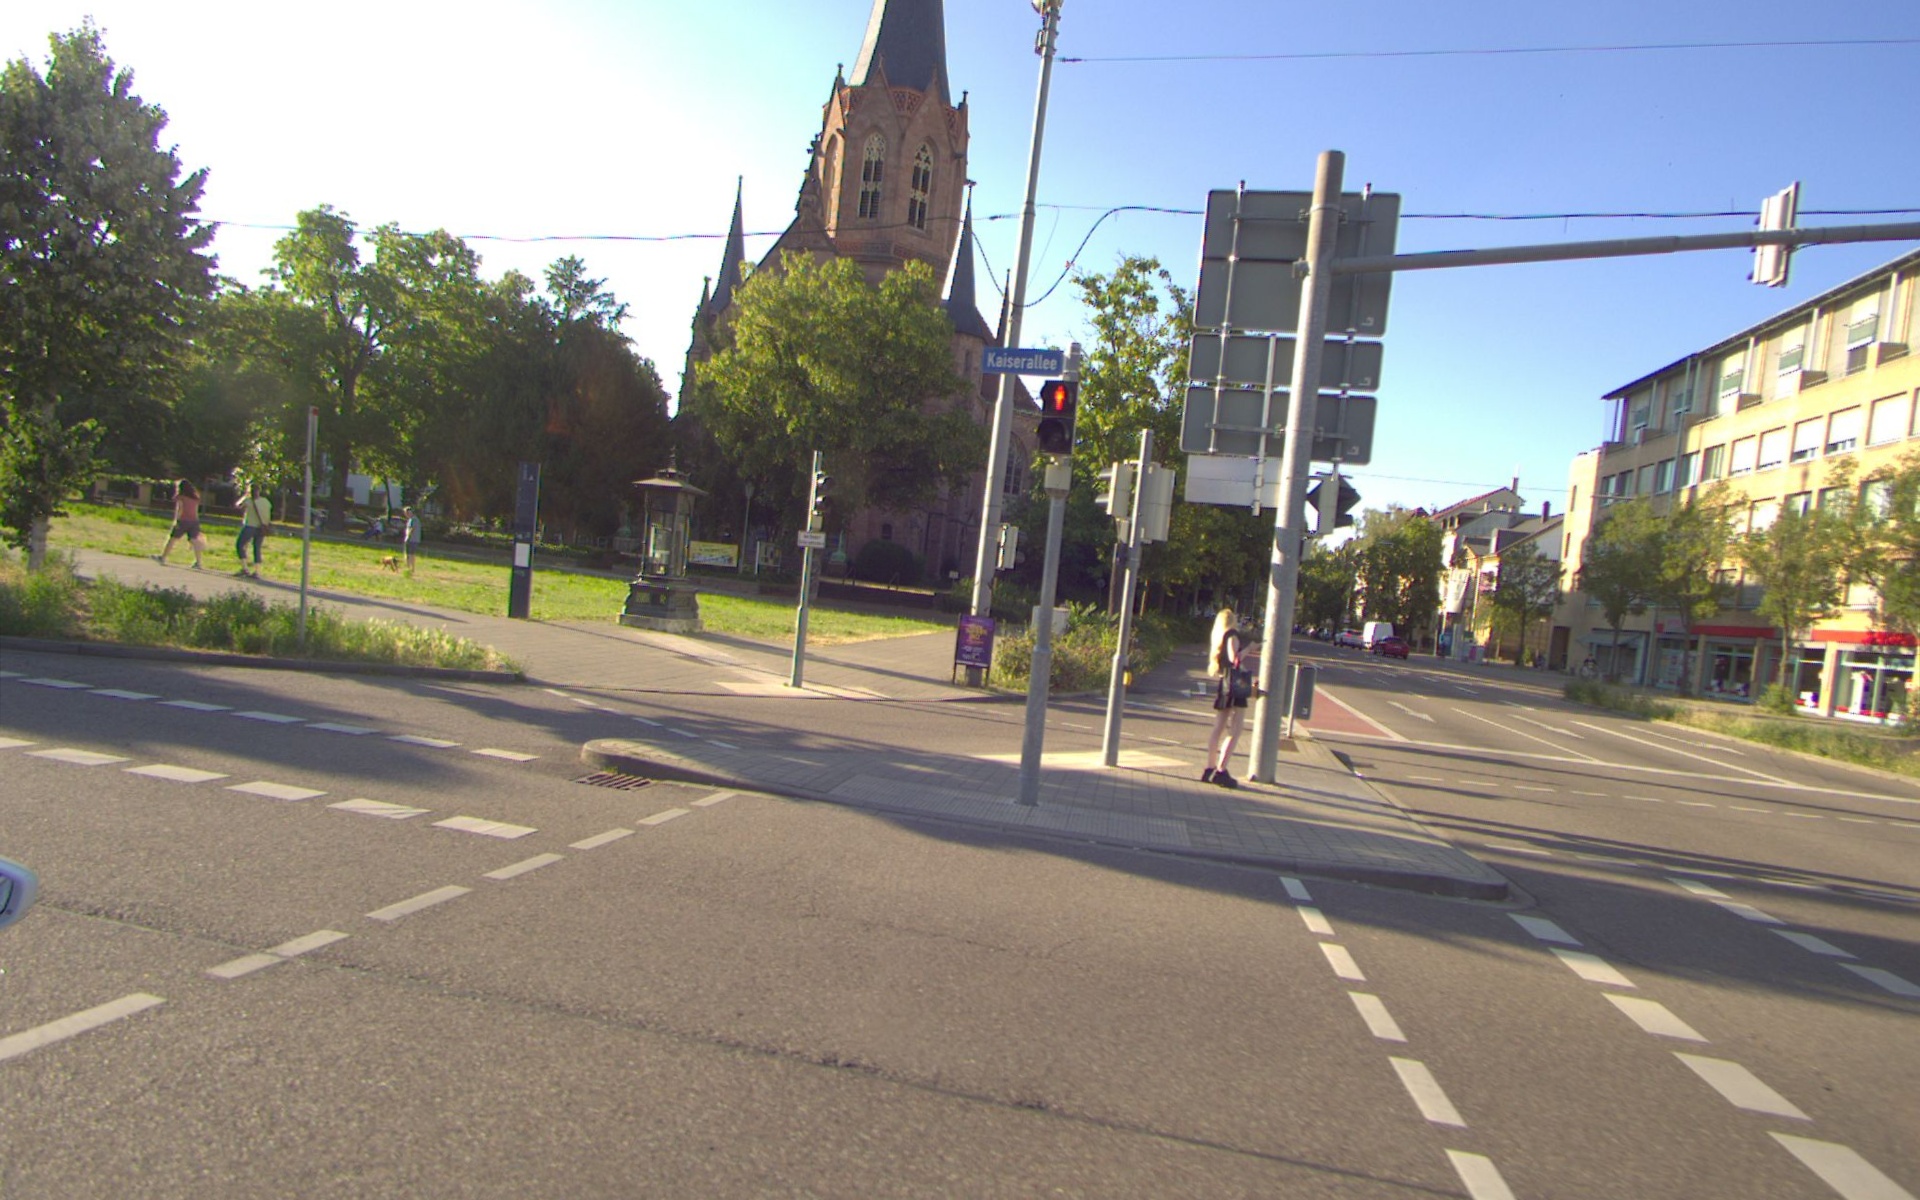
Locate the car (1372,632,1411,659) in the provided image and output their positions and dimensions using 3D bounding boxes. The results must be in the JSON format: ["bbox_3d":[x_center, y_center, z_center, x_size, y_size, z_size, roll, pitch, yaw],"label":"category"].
[{"bbox_3d":[30.456,3.187,71.099,1.643,1.481,3.999,8,2,12],"label":"car"}]

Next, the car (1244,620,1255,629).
[{"bbox_3d":[52.165,4.371,181.146,1.569,1.284,3.265,7,2,13],"label":"car"}]

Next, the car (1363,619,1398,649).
[{"bbox_3d":[38.827,3.116,93.019,1.962,2.472,3.999,8,2,13],"label":"car"}]

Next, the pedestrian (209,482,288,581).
[{"bbox_3d":[-13.462,-1.279,19.037,0.879,1.719,0.710,8,3,18],"label":"pedestrian"}]

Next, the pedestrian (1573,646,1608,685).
[{"bbox_3d":[35.166,3.649,56.136,1.090,2.002,1.161,7,2,12],"label":"pedestrian"}]

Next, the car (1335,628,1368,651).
[{"bbox_3d":[34.597,3.447,89.066,1.886,1.628,4.268,8,2,12],"label":"car"}]

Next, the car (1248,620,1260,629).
[{"bbox_3d":[47.899,4.004,163.839,1.569,1.284,3.265,7,2,13],"label":"car"}]

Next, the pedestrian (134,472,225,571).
[{"bbox_3d":[-14.987,-1.500,19.320,0.998,1.719,0.844,8,3,17],"label":"pedestrian"}]

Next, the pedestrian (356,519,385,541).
[{"bbox_3d":[-29.597,-3.492,50.532,0.790,0.966,1.171,7,2,-9],"label":"pedestrian"}]

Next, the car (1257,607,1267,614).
[{"bbox_3d":[60.463,2.125,201.711,1.569,1.284,3.265,7,2,13],"label":"car"}]

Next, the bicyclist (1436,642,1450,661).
[{"bbox_3d":[37.378,3.990,77.926,0.582,1.387,0.929,8,3,13],"label":"bicyclist"}]

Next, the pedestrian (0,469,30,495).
[{"bbox_3d":[-51.854,-6.468,55.175,0.829,1.203,0.813,7,2,11],"label":"pedestrian"}]

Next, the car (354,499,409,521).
[{"bbox_3d":[-59.508,-9.233,103.520,4.381,1.592,1.999,7,2,1],"label":"car"}]

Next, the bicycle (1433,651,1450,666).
[{"bbox_3d":[37.318,4.497,77.973,0.582,0.955,1.977,8,2,13],"label":"bicycle"}]

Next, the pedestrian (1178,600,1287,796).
[{"bbox_3d":[2.685,0.931,9.987,0.796,1.762,0.968,7,2,14],"label":"pedestrian"}]

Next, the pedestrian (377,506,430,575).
[{"bbox_3d":[-15.158,-1.612,27.401,1.002,1.719,0.840,9,3,41],"label":"pedestrian"}]

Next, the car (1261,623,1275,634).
[{"bbox_3d":[44.184,4.088,144.304,1.569,1.284,3.265,7,2,13],"label":"car"}]
